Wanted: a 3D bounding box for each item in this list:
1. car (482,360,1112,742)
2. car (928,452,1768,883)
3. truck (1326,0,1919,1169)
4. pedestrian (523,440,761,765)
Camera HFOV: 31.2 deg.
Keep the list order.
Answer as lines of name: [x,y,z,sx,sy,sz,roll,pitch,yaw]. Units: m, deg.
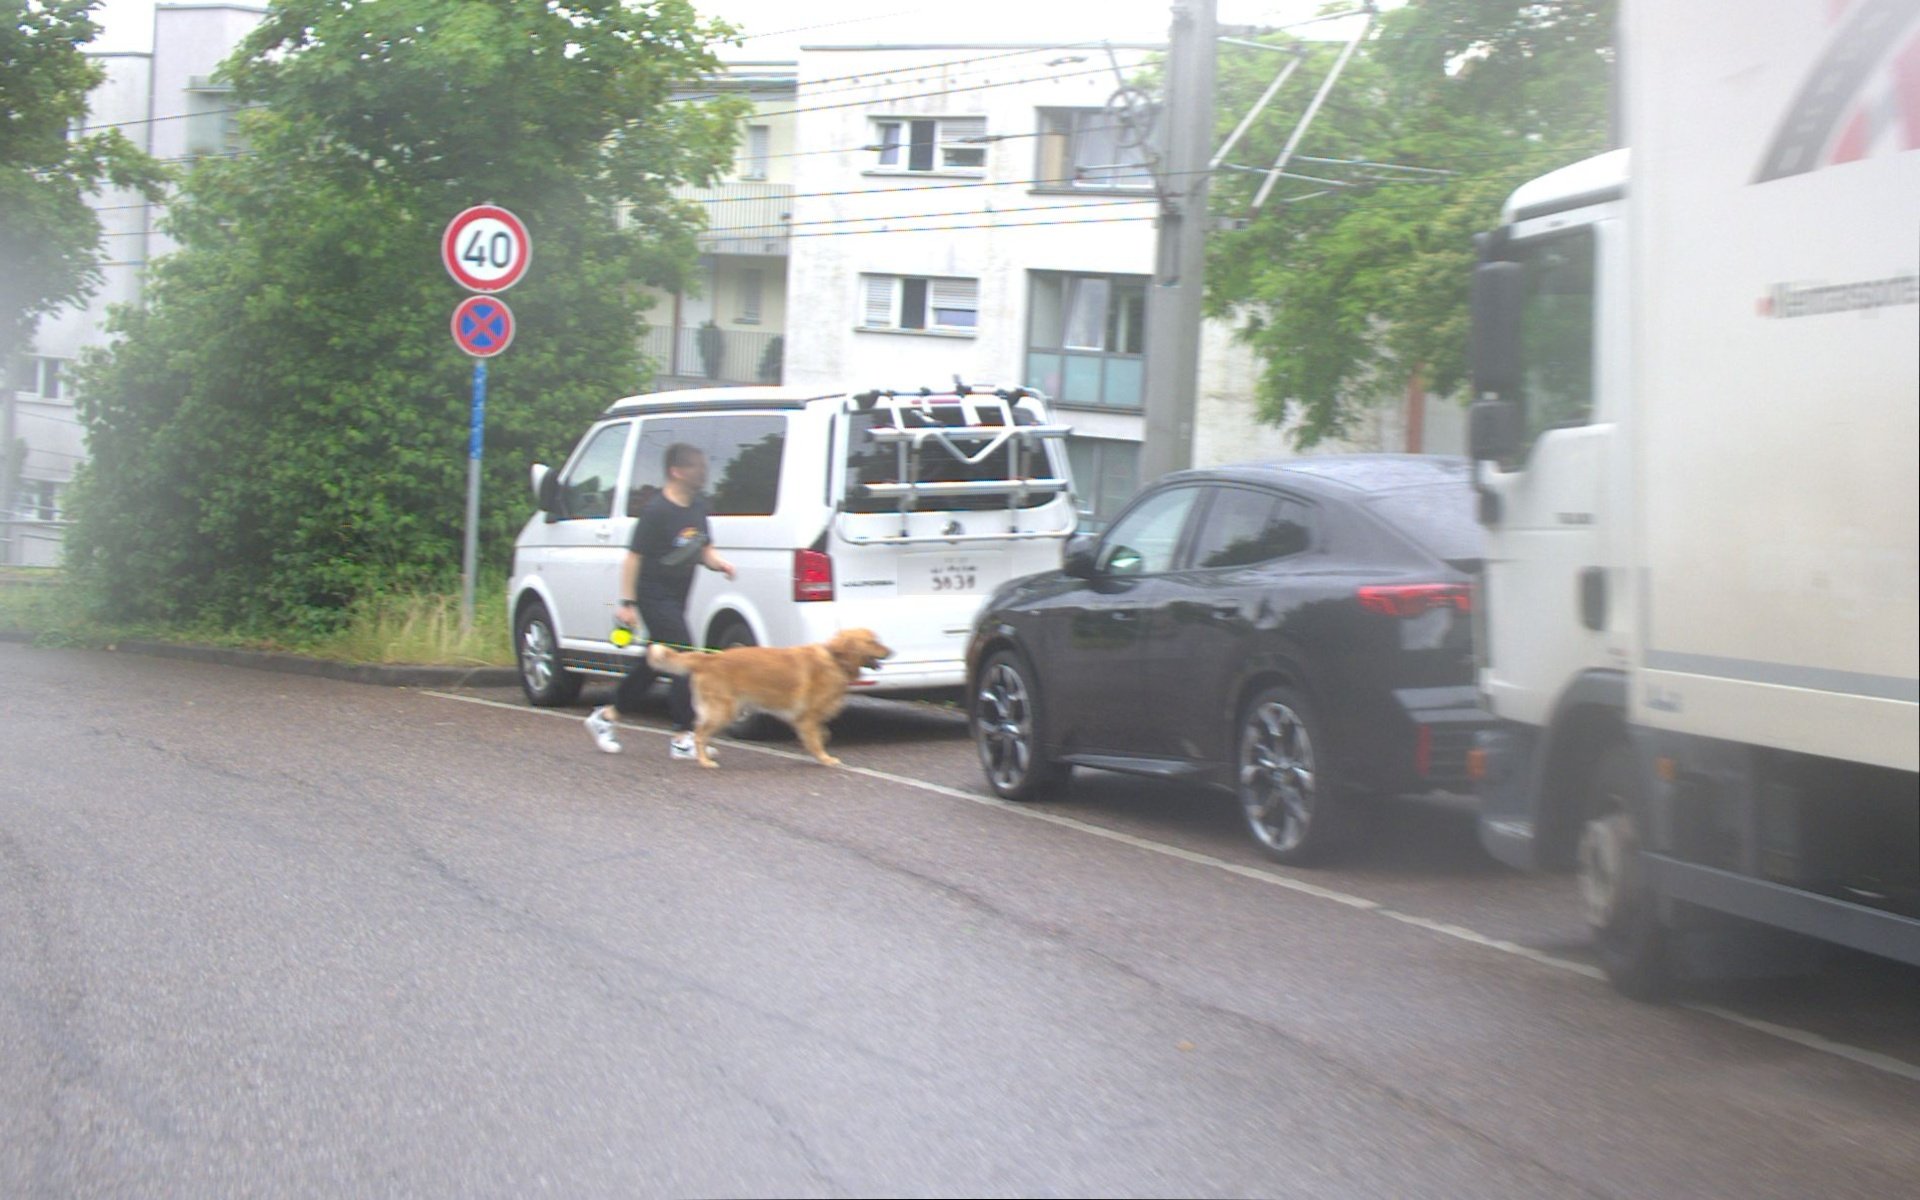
car: [-1.120,-0.360,20.580,1.876,2.006,4.692,-1,3,-29]
car: [1.483,0.159,14.868,1.718,1.550,4.278,-2,3,-23]
truck: [3.572,-0.541,7.640,3.006,3.561,8.339,0,1,-12]
pedestrian: [-1.692,-0.012,18.299,0.924,1.655,0.803,2,4,39]
